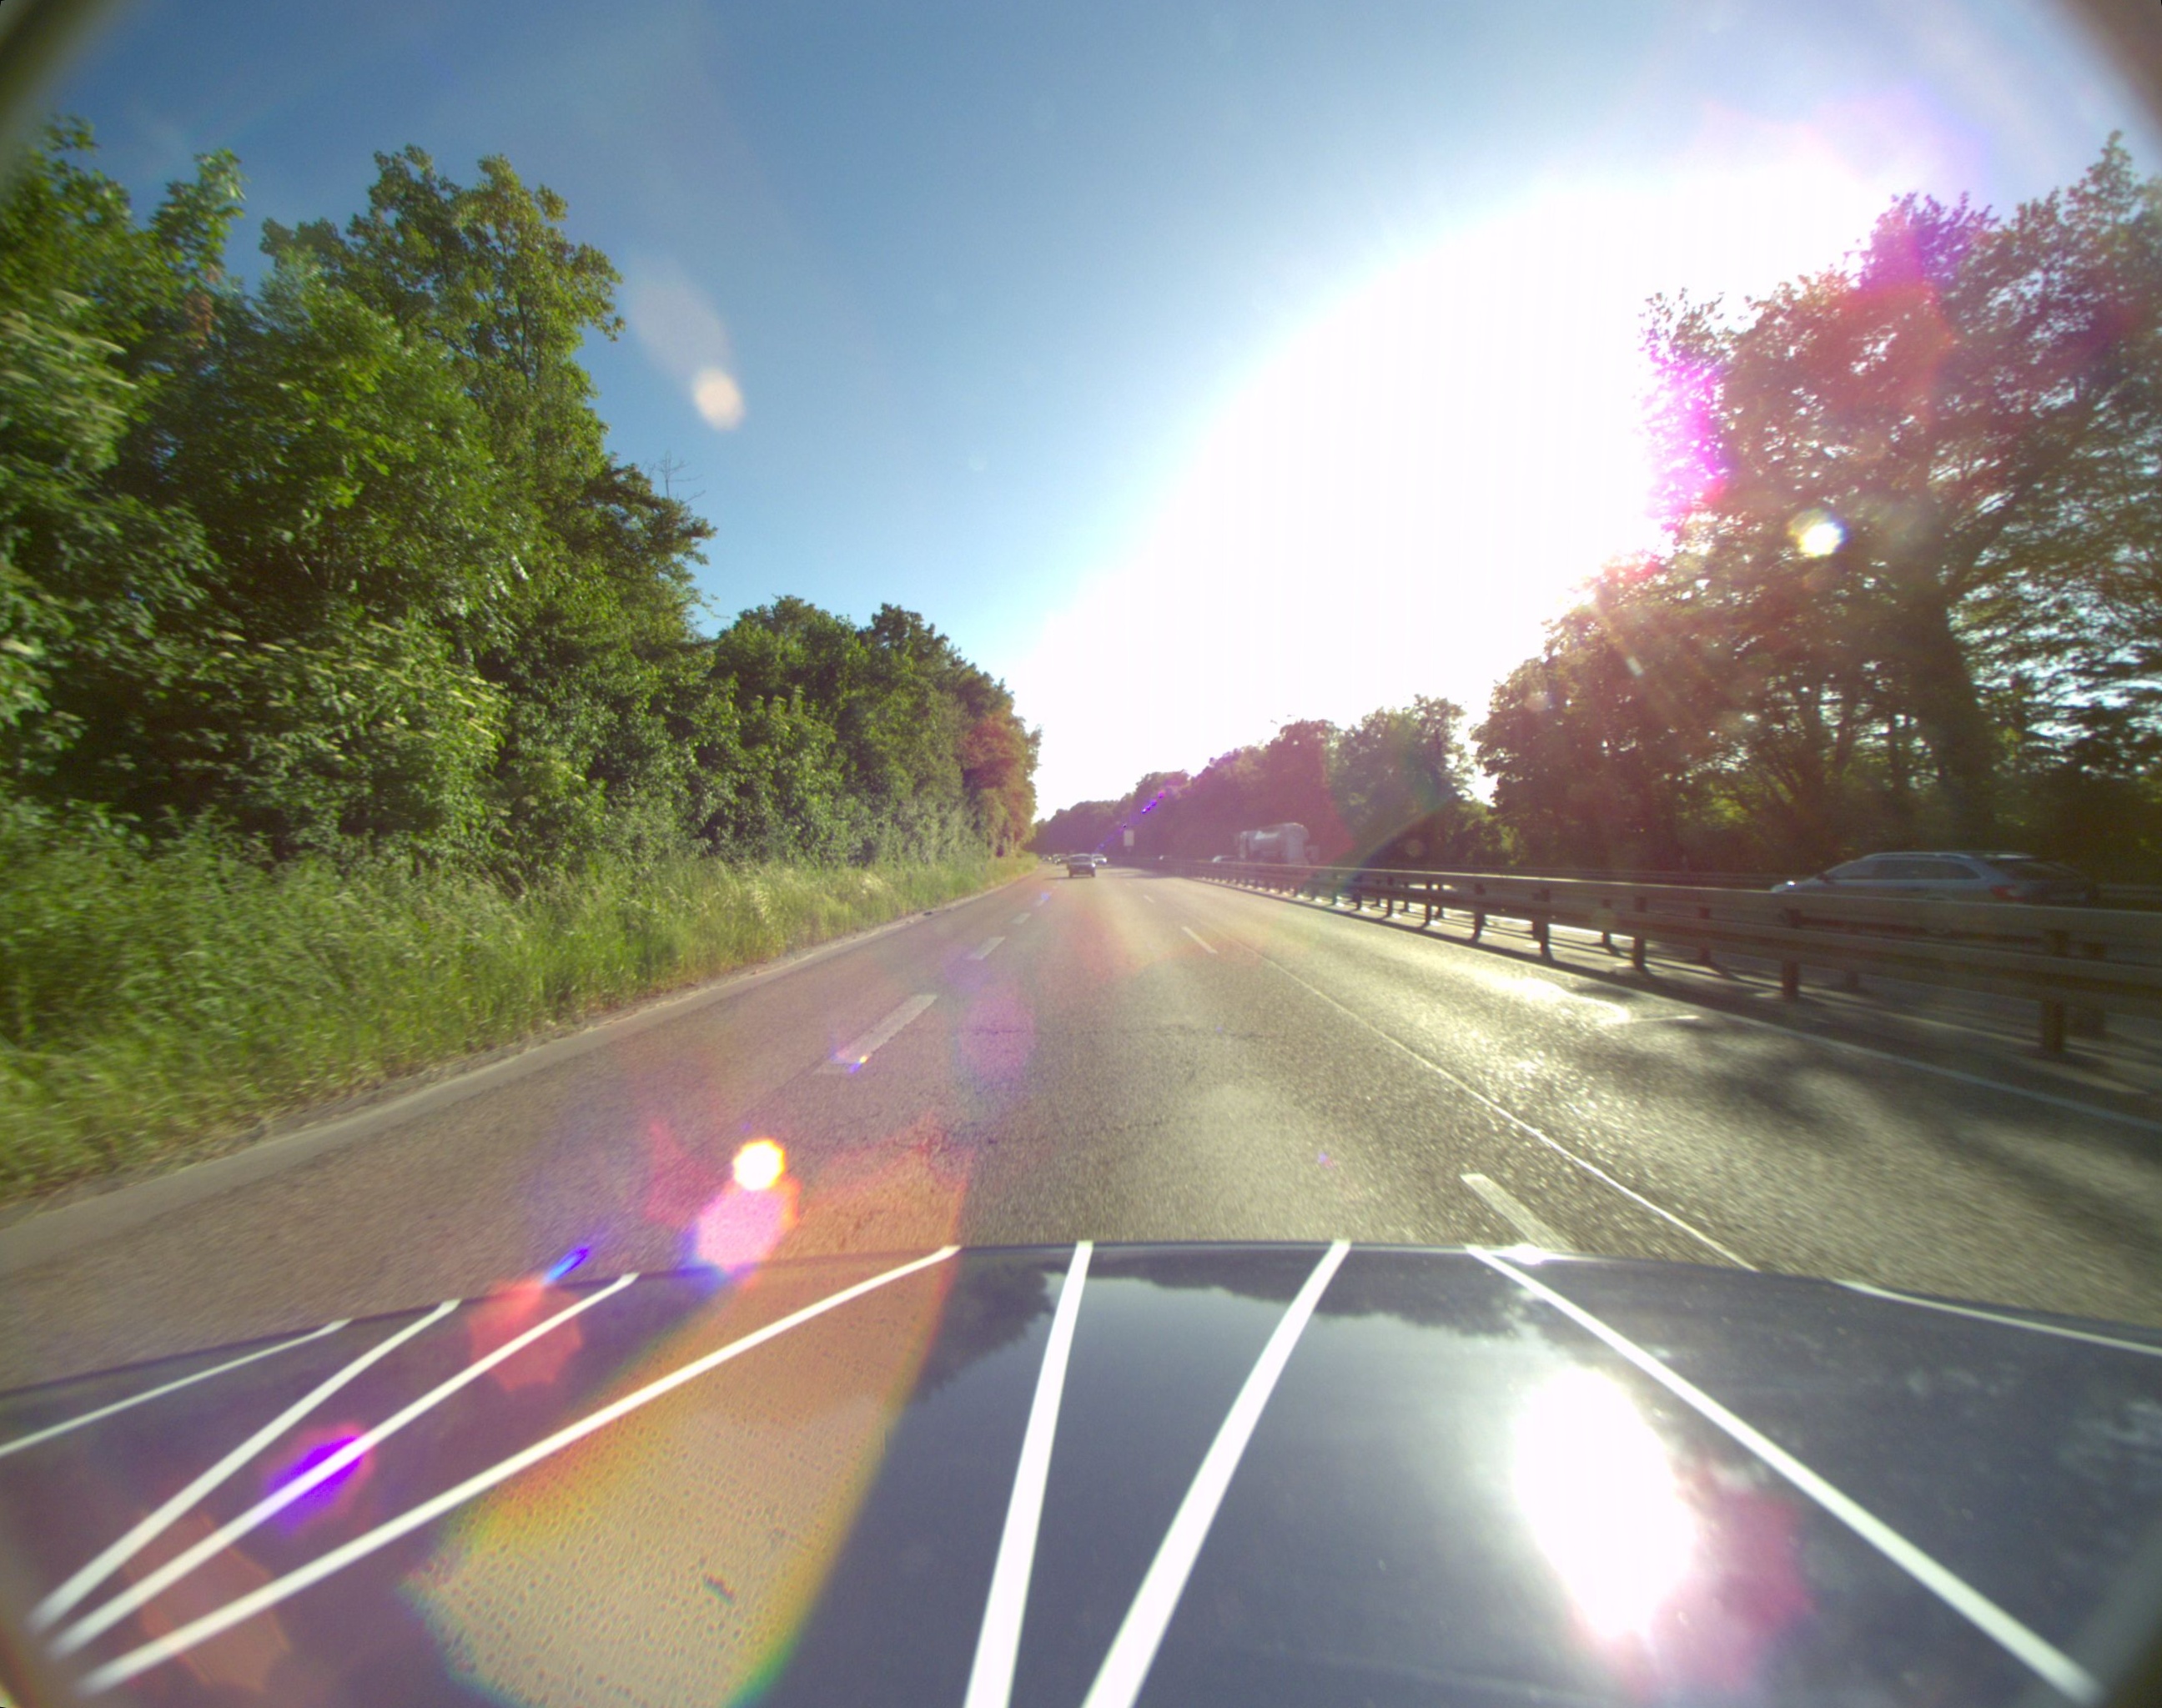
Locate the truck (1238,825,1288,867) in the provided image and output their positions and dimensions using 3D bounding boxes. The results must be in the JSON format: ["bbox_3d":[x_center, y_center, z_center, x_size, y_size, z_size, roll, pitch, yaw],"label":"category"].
[{"bbox_3d":[16.085,-0.680,67.721,2.988,3.609,6.155,0,0,0],"label":"truck"}]

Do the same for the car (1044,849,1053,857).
[{"bbox_3d":[-7.737,-0.276,181.727,1.999,1.761,3.998,0,0,-5],"label":"car"}]

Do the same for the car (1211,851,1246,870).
[{"bbox_3d":[11.816,0.483,61.088,1.803,1.458,4.695,0,0,-1],"label":"car"}]

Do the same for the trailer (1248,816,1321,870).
[{"bbox_3d":[16.113,-0.821,61.095,3.060,3.974,10.972,0,0,1],"label":"trailer"}]

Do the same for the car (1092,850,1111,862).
[{"bbox_3d":[2.671,0.236,99.294,1.905,1.453,4.353,-1,0,-6],"label":"car"}]

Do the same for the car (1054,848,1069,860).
[{"bbox_3d":[-2.953,-0.021,116.034,1.999,1.761,3.998,0,0,-5],"label":"car"}]

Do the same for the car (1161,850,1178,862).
[{"bbox_3d":[11.392,0.284,97.683,1.670,1.458,4.091,0,0,-1],"label":"car"}]

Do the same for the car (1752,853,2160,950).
[{"bbox_3d":[16.005,0.746,14.483,2.076,1.458,4.985,-1,0,1],"label":"car"}]

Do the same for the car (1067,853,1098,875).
[{"bbox_3d":[0.081,0.660,52.505,1.801,1.453,4.354,0,0,-4],"label":"car"}]

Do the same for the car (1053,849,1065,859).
[{"bbox_3d":[-4.103,-0.021,139.756,1.999,1.761,3.998,0,0,-5],"label":"car"}]
